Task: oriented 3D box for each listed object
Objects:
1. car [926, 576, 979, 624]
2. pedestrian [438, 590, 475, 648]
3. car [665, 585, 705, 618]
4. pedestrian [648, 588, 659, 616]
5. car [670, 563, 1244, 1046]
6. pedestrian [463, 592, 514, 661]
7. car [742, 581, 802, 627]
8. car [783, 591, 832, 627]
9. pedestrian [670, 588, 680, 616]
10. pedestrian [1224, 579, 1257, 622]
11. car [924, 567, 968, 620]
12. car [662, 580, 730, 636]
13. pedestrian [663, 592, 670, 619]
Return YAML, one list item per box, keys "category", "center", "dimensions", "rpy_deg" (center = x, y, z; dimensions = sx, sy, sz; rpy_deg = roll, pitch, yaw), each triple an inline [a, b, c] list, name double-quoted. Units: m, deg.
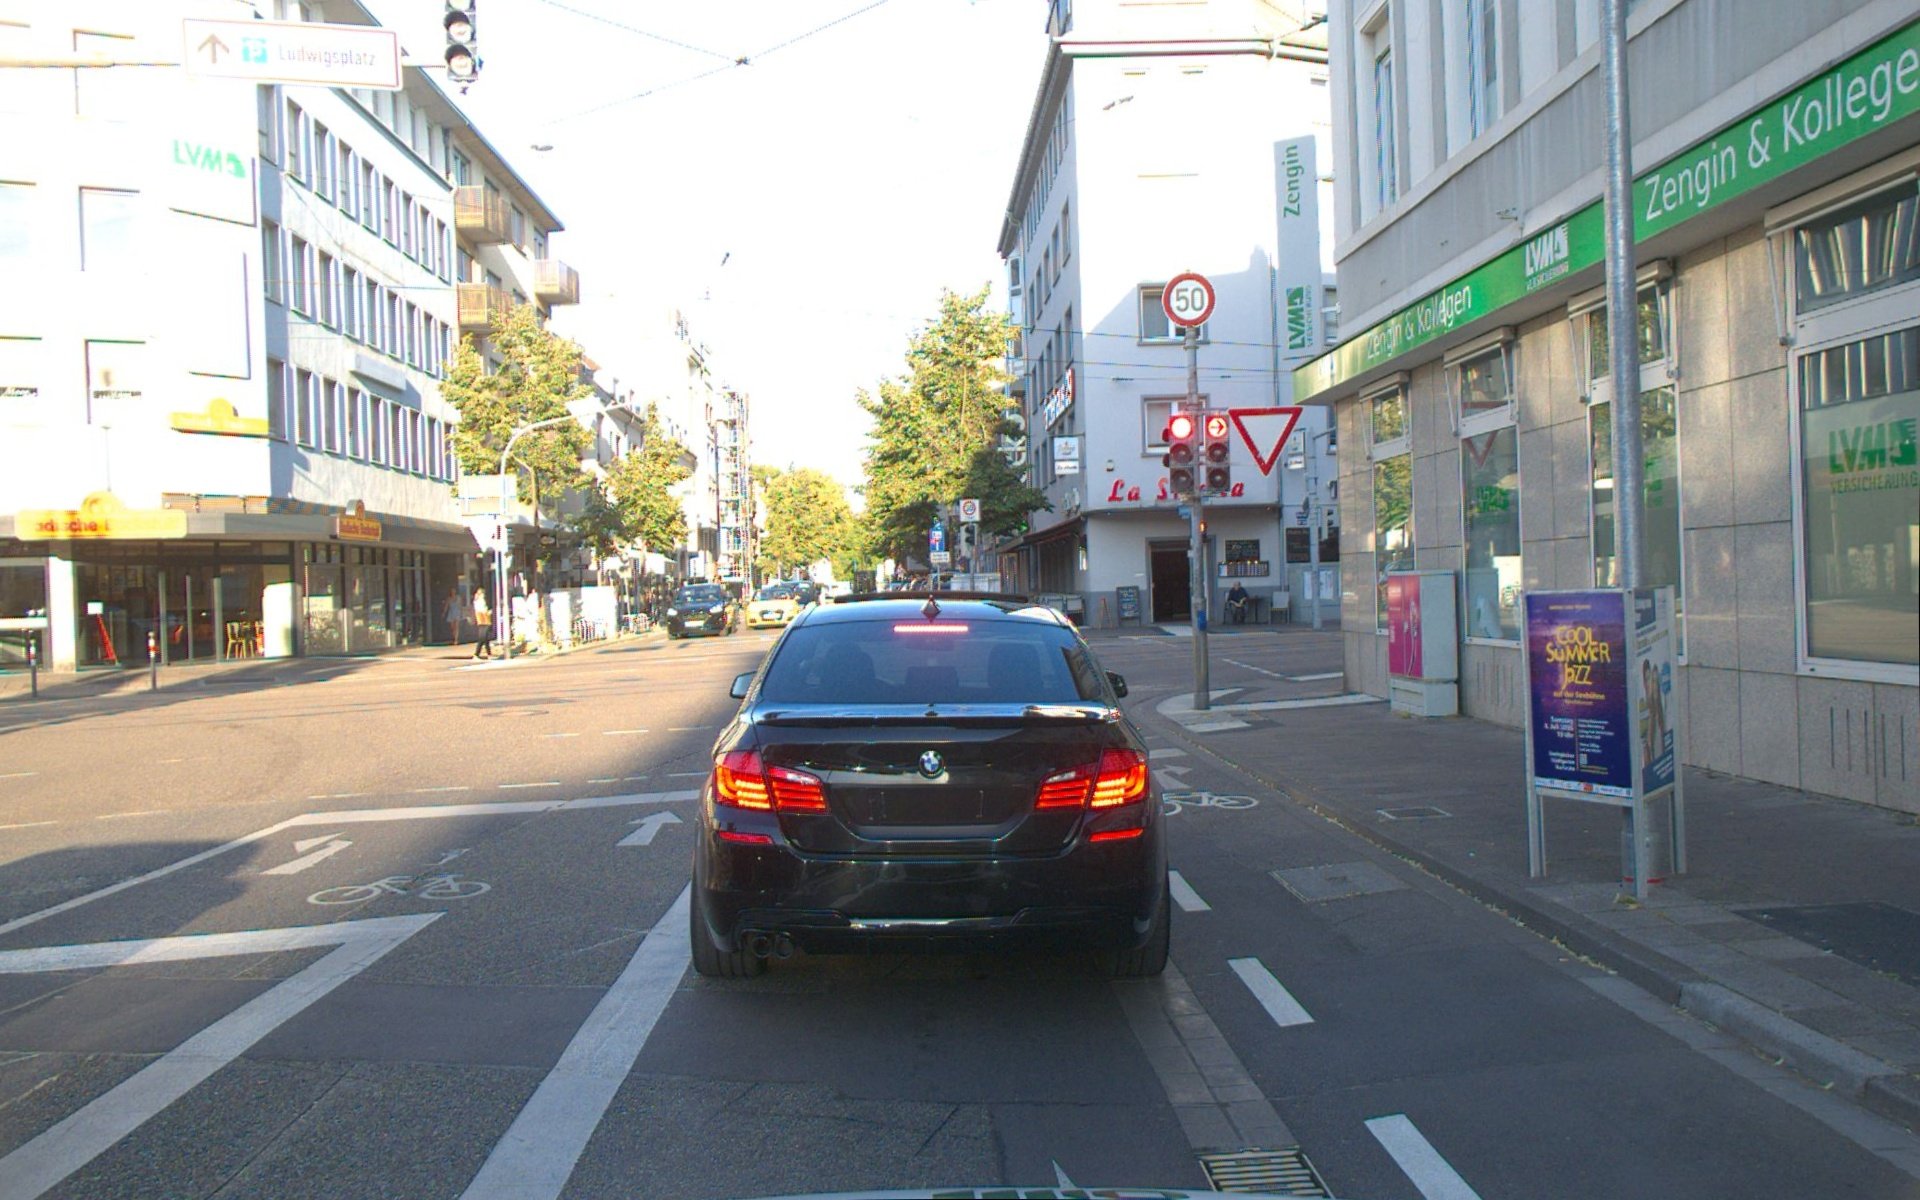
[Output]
- category: "car"
  center: [-0.271, -0.004, 54.583]
  dimensions: [1.593, 1.497, 3.393]
  rpy_deg: [-1, 0, -3]
- category: "pedestrian"
  center: [-15.057, 0.562, 49.482]
  dimensions: [0.807, 1.705, 0.871]
  rpy_deg: [-2, 0, -3]
- category: "car"
  center: [-13.064, 0.057, 78.808]
  dimensions: [1.701, 1.487, 3.993]
  rpy_deg: [-2, 1, -8]
- category: "pedestrian"
  center: [-15.783, 0.103, 85.084]
  dimensions: [0.435, 1.441, 0.525]
  rpy_deg: [-2, 0, -4]
- category: "car"
  center: [-0.118, 0.648, 7.647]
  dimensions: [1.865, 1.567, 4.447]
  rpy_deg: [1, 1, -3]
- category: "pedestrian"
  center: [-11.095, 0.616, 38.924]
  dimensions: [0.936, 1.564, 0.899]
  rpy_deg: [-2, 0, -30]
- category: "car"
  center: [-6.574, 0.114, 57.560]
  dimensions: [1.956, 1.467, 3.993]
  rpy_deg: [-2, 1, -8]
- category: "car"
  center: [-5.944, 0.324, 64.333]
  dimensions: [1.701, 1.315, 3.993]
  rpy_deg: [-2, 1, -8]
- category: "pedestrian"
  center: [-14.703, 0.100, 85.272]
  dimensions: [0.435, 1.441, 0.525]
  rpy_deg: [-2, 0, -4]
- category: "pedestrian"
  center: [7.872, 0.016, 46.434]
  dimensions: [0.683, 1.177, 0.843]
  rpy_deg: [-2, 0, -4]
- category: "car"
  center: [-0.537, -0.224, 60.978]
  dimensions: [1.393, 1.887, 3.049]
  rpy_deg: [-1, 0, -5]
- category: "car"
  center: [-8.266, 0.227, 52.098]
  dimensions: [1.956, 1.646, 3.993]
  rpy_deg: [-2, 1, -8]
- category: "pedestrian"
  center: [-15.161, 0.284, 85.328]
  dimensions: [0.301, 1.383, 0.284]
  rpy_deg: [-2, 0, -11]
